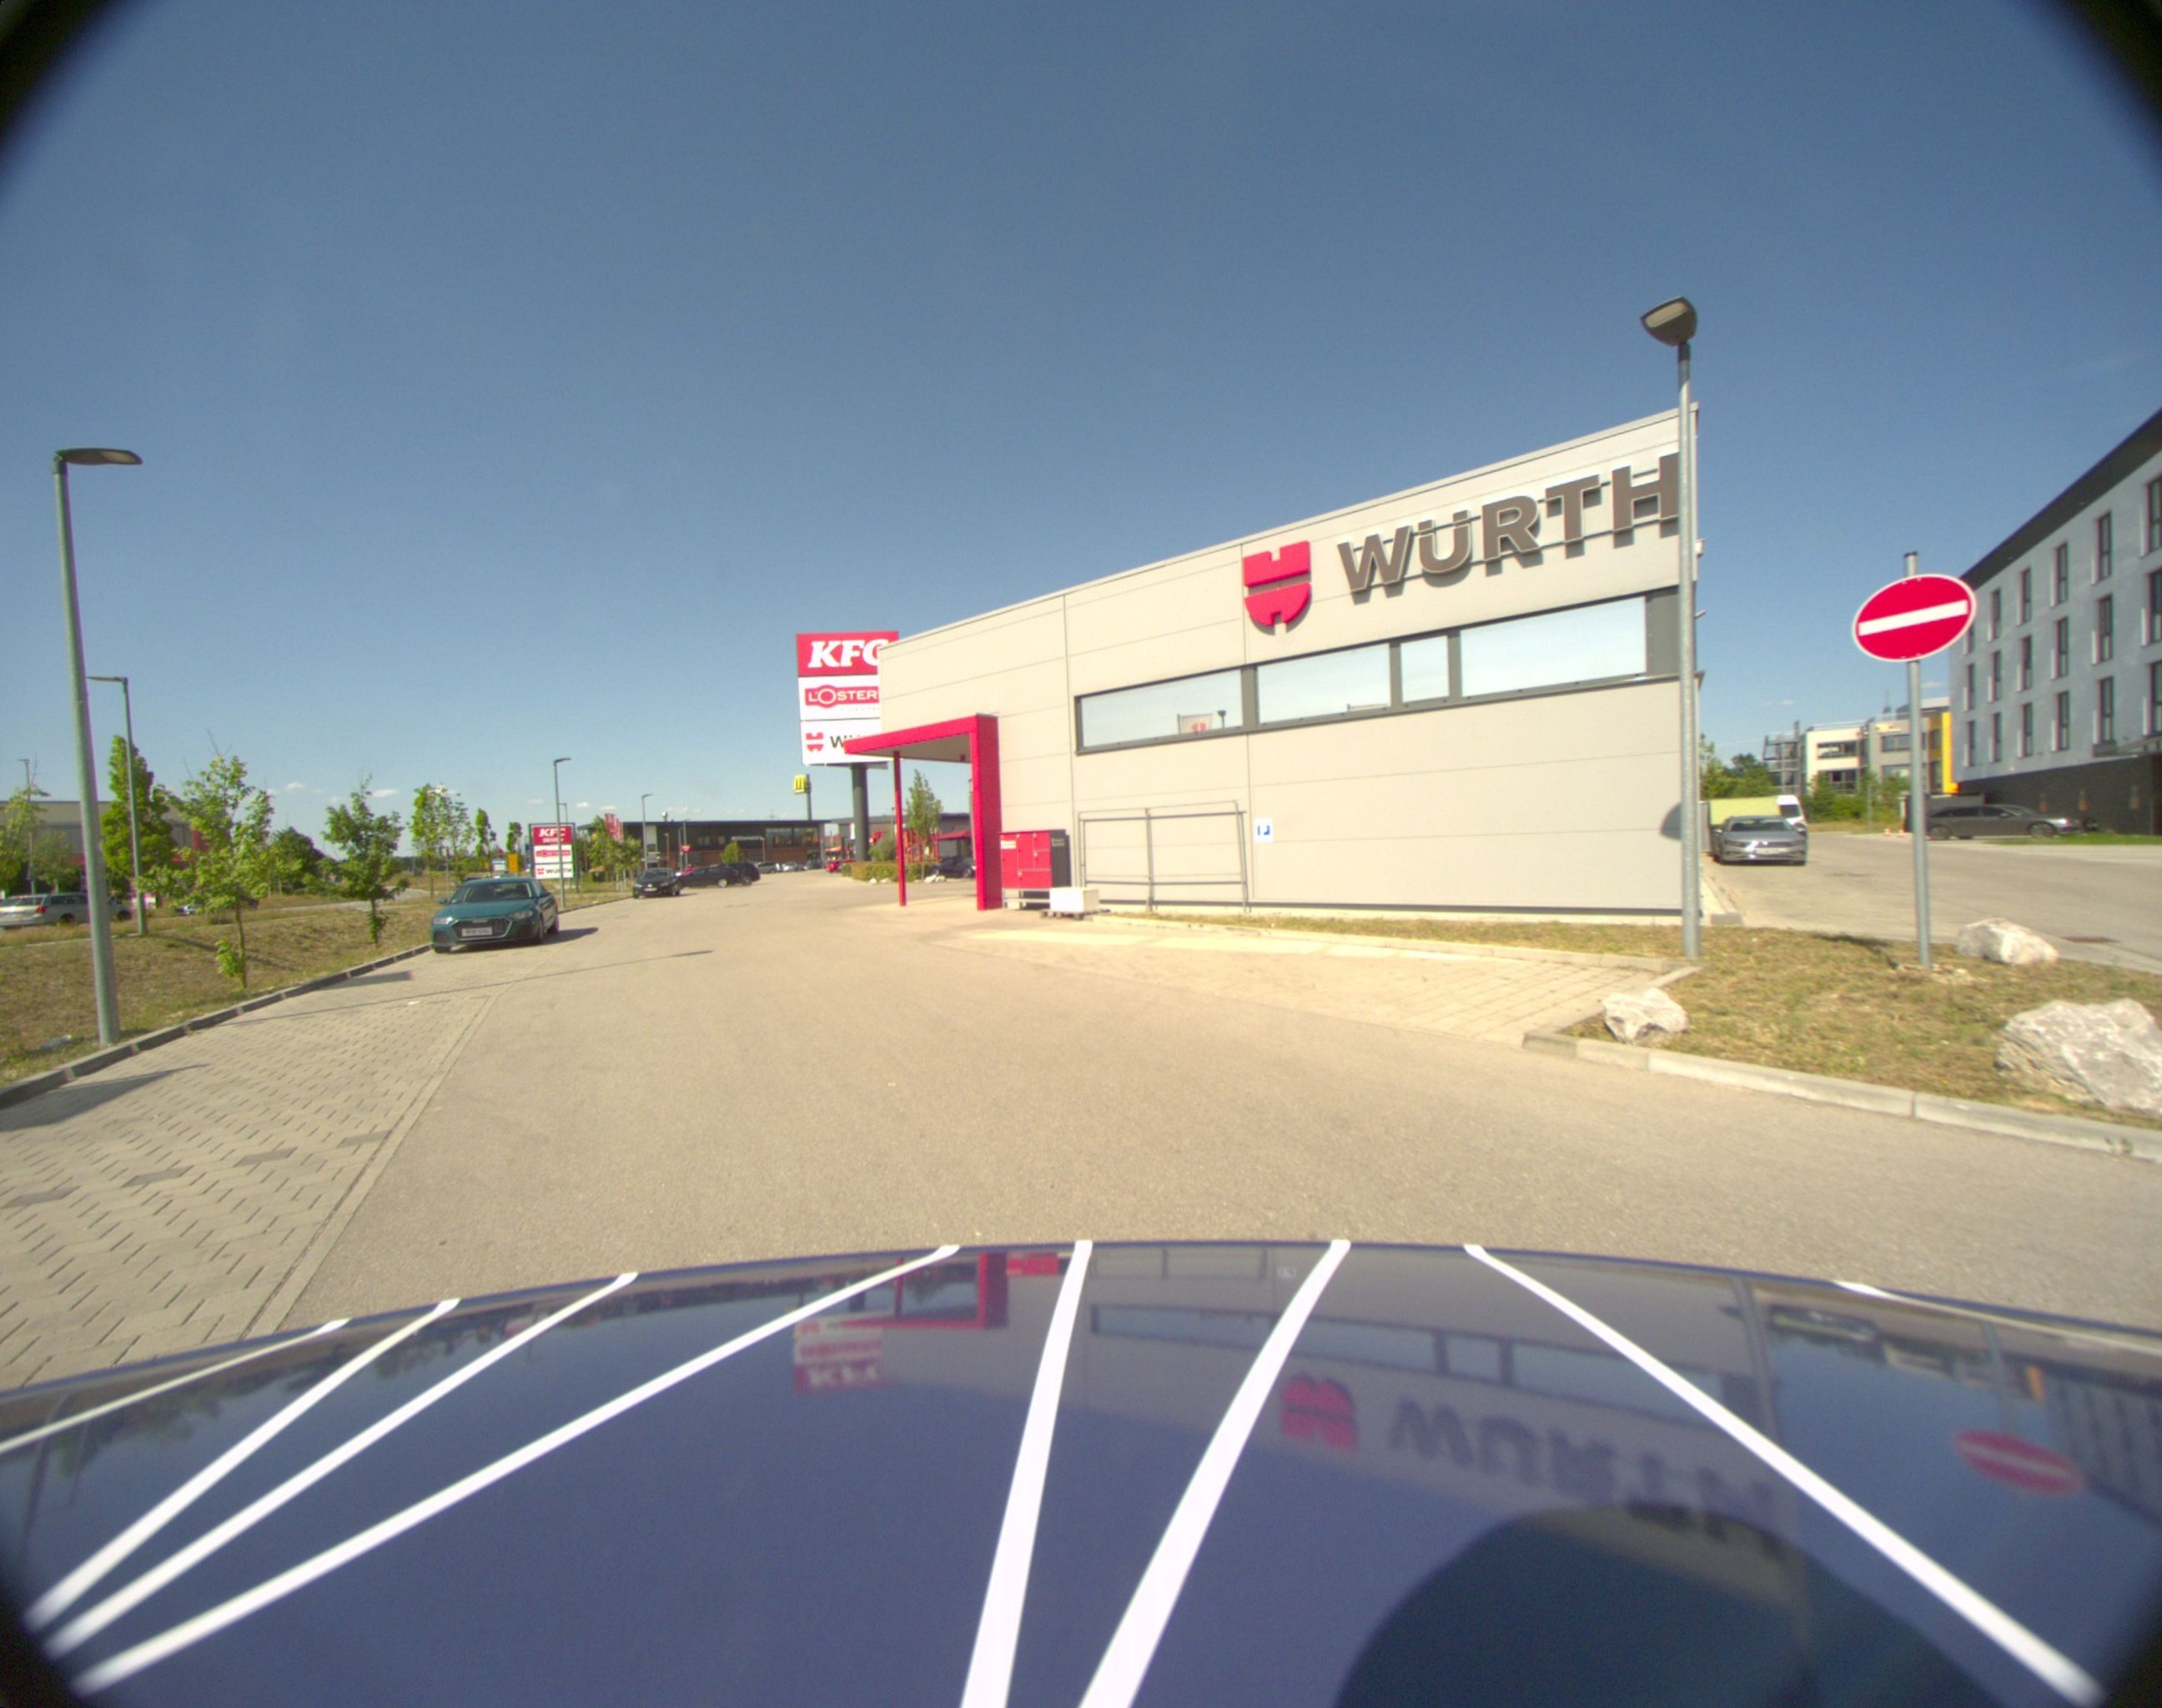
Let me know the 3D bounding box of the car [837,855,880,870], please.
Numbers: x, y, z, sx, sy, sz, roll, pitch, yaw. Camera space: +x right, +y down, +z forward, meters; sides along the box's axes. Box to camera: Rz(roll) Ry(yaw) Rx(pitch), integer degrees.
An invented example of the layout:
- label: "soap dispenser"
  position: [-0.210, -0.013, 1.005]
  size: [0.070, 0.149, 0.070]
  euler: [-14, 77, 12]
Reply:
- label: "car"
  position: [-25.120, 0.948, 85.863]
  size: [4.104, 1.556, 1.874]
  euler: [-3, 1, -42]

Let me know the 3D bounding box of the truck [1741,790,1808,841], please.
- label: "truck"
  position: [35.698, -1.972, 39.246]
  size: [1.994, 2.363, 5.901]
  euler: [-2, 1, 37]

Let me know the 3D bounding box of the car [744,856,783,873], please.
- label: "car"
  position: [-43.877, 1.423, 105.049]
  size: [4.492, 2.002, 1.995]
  euler: [-4, 2, -42]

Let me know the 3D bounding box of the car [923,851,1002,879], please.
- label: "car"
  position: [-6.517, 0.604, 41.684]
  size: [4.143, 1.330, 1.834]
  euler: [-2, 1, 36]

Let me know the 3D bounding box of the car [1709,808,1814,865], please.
- label: "car"
  position: [20.219, -0.546, 22.749]
  size: [1.874, 1.499, 4.007]
  euler: [-2, 1, 35]

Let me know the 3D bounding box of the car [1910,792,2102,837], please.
- label: "car"
  position: [36.883, -1.520, 30.495]
  size: [1.880, 1.499, 4.518]
  euler: [-3, 1, -16]

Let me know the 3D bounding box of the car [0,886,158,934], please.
- label: "car"
  position: [-42.555, 2.309, 32.287]
  size: [1.948, 1.542, 4.753]
  euler: [-4, 1, -19]

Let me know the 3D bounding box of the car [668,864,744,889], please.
- label: "car"
  position: [-25.657, 1.508, 52.147]
  size: [4.539, 1.450, 1.996]
  euler: [-3, 1, -26]

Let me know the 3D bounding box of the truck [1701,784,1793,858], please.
- label: "truck"
  position: [24.341, -1.196, 27.984]
  size: [2.118, 2.363, 5.901]
  euler: [-2, 1, 37]

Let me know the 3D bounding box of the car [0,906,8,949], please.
- label: "car"
  position: [-39.798, 2.763, 25.580]
  size: [1.948, 1.542, 4.752]
  euler: [-4, 1, -23]

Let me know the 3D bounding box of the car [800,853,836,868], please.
- label: "car"
  position: [-39.029, 0.984, 112.697]
  size: [4.492, 2.002, 1.995]
  euler: [-4, 2, -42]

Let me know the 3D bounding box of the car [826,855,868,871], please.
- label: "car"
  position: [-27.044, 1.063, 87.790]
  size: [4.104, 1.556, 1.874]
  euler: [-3, 1, -42]

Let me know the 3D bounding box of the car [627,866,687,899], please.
- label: "car"
  position: [-21.659, 1.400, 38.987]
  size: [1.880, 1.457, 4.357]
  euler: [-3, 1, -19]

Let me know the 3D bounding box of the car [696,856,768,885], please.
- label: "car"
  position: [-25.891, 1.191, 56.538]
  size: [4.536, 1.825, 1.997]
  euler: [-3, 1, -16]

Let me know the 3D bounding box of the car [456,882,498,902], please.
- label: "car"
  position: [-54.851, 3.438, 69.096]
  size: [1.949, 1.542, 4.750]
  euler: [-4, 1, -27]

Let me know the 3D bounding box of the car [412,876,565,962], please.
- label: "car"
  position: [-12.632, 1.283, 16.500]
  size: [1.848, 1.441, 4.217]
  euler: [-3, 1, -28]
